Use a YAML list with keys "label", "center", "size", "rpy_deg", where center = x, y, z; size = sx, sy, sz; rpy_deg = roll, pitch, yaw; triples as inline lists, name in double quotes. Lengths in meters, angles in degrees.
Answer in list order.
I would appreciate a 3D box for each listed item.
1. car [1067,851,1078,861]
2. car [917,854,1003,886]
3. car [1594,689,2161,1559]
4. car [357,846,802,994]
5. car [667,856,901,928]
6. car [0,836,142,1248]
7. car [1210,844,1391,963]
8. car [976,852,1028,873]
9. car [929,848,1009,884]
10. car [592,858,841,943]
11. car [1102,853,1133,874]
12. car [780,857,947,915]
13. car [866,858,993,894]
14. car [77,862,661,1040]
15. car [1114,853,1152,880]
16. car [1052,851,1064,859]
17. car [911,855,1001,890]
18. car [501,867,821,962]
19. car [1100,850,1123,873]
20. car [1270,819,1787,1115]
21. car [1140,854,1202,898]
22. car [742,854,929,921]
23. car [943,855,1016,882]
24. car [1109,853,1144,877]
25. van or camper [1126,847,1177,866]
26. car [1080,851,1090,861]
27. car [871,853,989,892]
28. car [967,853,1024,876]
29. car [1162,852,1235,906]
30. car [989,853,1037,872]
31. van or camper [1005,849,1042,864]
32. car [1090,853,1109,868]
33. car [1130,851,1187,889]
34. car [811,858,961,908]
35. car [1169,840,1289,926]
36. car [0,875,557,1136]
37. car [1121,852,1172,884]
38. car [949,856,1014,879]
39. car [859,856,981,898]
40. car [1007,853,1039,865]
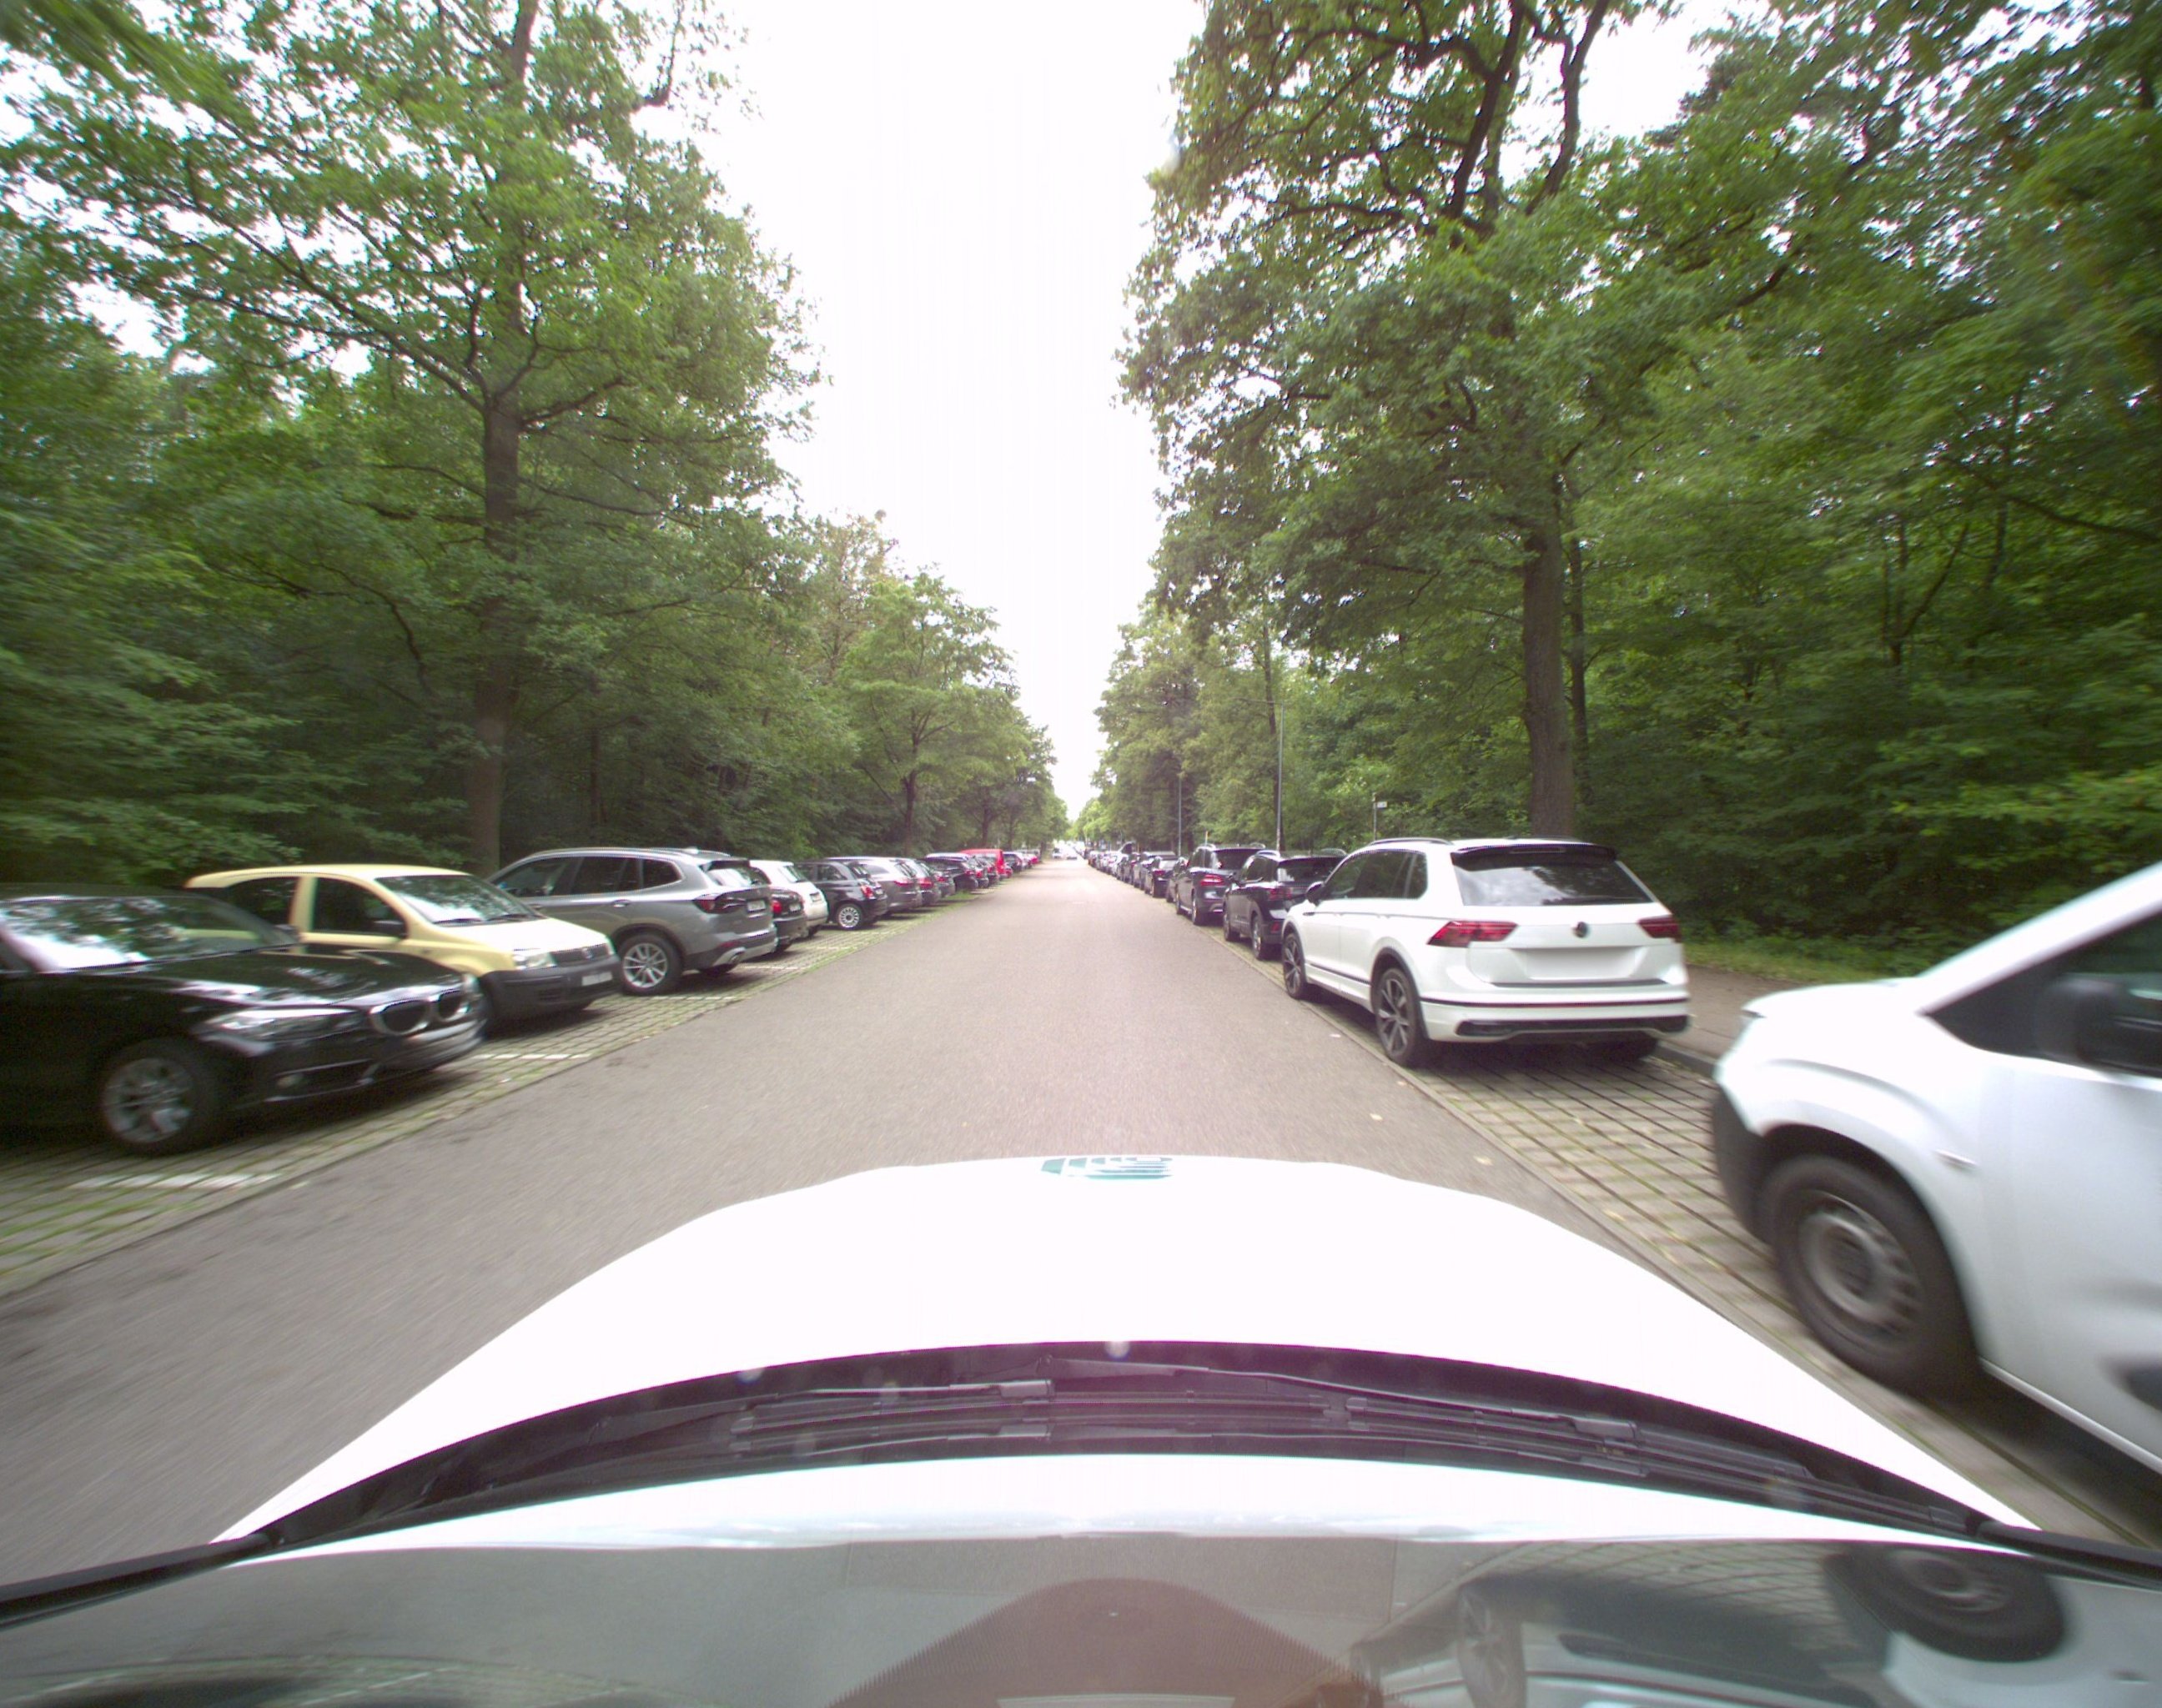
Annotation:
- label: "car"
  center: [-1.387, 0.291, 133.414]
  size: [1.686, 1.415, 3.152]
  rpy_deg: [1, 3, -2]
- label: "car"
  center: [-5.912, 0.764, 40.151]
  size: [3.976, 1.530, 1.999]
  rpy_deg: [0, 0, -2]
- label: "car"
  center: [3.082, 0.553, 1.236]
  size: [1.739, 1.780, 4.551]
  rpy_deg: [0, 0, 0]
- label: "car"
  center: [-5.937, 0.732, 10.082]
  size: [4.210, 1.633, 2.029]
  rpy_deg: [0, 0, 1]
- label: "car"
  center: [-6.362, 0.788, 17.786]
  size: [4.385, 1.488, 1.838]
  rpy_deg: [0, 0, 1]
- label: "car"
  center: [-6.421, 0.738, 2.637]
  size: [4.500, 1.584, 1.927]
  rpy_deg: [0, 0, 0]
- label: "car"
  center: [3.340, 0.668, 13.305]
  size: [1.745, 1.607, 4.445]
  rpy_deg: [0, 0, 0]
- label: "car"
  center: [-6.266, 0.663, 64.804]
  size: [3.974, 1.640, 1.734]
  rpy_deg: [0, 0, 0]
- label: "car"
  center: [-5.830, 0.627, 42.699]
  size: [3.979, 1.816, 2.112]
  rpy_deg: [0, 0, -4]
- label: "car"
  center: [-6.655, 0.828, 15.179]
  size: [3.855, 1.451, 1.659]
  rpy_deg: [0, 1, -2]
- label: "car"
  center: [2.630, 0.652, 59.032]
  size: [1.719, 1.494, 3.766]
  rpy_deg: [0, 0, -6]
- label: "car"
  center: [-5.924, 0.851, 22.632]
  size: [4.098, 1.480, 1.995]
  rpy_deg: [0, 0, -2]
- label: "car"
  center: [-5.972, 0.847, 32.542]
  size: [4.719, 1.343, 1.986]
  rpy_deg: [0, 0, -2]
- label: "car"
  center: [-6.479, 0.821, 7.748]
  size: [4.007, 1.465, 1.800]
  rpy_deg: [0, 0, 2]
- label: "car"
  center: [2.918, 0.698, 46.198]
  size: [1.663, 1.444, 3.809]
  rpy_deg: [0, 0, -4]
- label: "car"
  center: [-3.858, 0.109, 136.563]
  size: [1.733, 1.161, 3.412]
  rpy_deg: [1, 3, 1]
- label: "car"
  center: [-5.724, 0.820, 37.709]
  size: [3.980, 1.530, 1.996]
  rpy_deg: [0, 0, -5]
- label: "car"
  center: [-6.289, 0.883, 12.578]
  size: [3.969, 1.310, 1.809]
  rpy_deg: [0, 0, -2]
- label: "car"
  center: [2.393, 0.587, 64.790]
  size: [1.705, 1.728, 3.999]
  rpy_deg: [0, 0, 0]
- label: "car"
  center: [3.090, 0.629, 6.968]
  size: [1.780, 1.662, 4.715]
  rpy_deg: [0, 0, -1]
- label: "car"
  center: [3.202, 0.739, 29.651]
  size: [1.632, 1.477, 4.147]
  rpy_deg: [0, 0, -2]
- label: "car"
  center: [-5.987, 0.790, 20.258]
  size: [4.080, 1.523, 1.927]
  rpy_deg: [0, 0, -3]
- label: "car"
  center: [-5.862, 0.820, 47.546]
  size: [3.975, 1.474, 2.114]
  rpy_deg: [0, 0, -1]
- label: "car"
  center: [2.955, 0.678, 53.156]
  size: [1.932, 1.475, 3.989]
  rpy_deg: [0, 0, -2]
- label: "van or camper"
  center: [10.811, 0.360, 125.135]
  size: [7.337, 2.888, 2.636]
  rpy_deg: [0, 3, -16]
- label: "car"
  center: [0.671, 0.333, 139.110]
  size: [1.624, 1.415, 3.409]
  rpy_deg: [1, 3, -2]
- label: "car"
  center: [-6.466, 0.772, 35.237]
  size: [4.719, 1.595, 1.958]
  rpy_deg: [0, 0, -2]
- label: "car"
  center: [-6.014, 0.743, 57.478]
  size: [3.820, 1.536, 1.870]
  rpy_deg: [0, 0, 0]
- label: "car"
  center: [3.462, 0.687, 24.613]
  size: [1.594, 1.504, 4.089]
  rpy_deg: [0, 0, 0]
- label: "car"
  center: [-5.984, 0.707, 72.052]
  size: [3.974, 1.640, 2.009]
  rpy_deg: [0, 0, 0]
- label: "van or camper"
  center: [-7.469, 0.342, 105.596]
  size: [4.482, 1.868, 1.910]
  rpy_deg: [0, 3, -16]
- label: "car"
  center: [1.897, 0.665, 84.278]
  size: [1.915, 1.520, 3.887]
  rpy_deg: [0, 0, 0]
- label: "car"
  center: [3.313, 0.649, 35.505]
  size: [1.972, 1.537, 4.619]
  rpy_deg: [0, 0, -1]
- label: "car"
  center: [-5.913, 0.875, 25.087]
  size: [4.095, 1.431, 1.964]
  rpy_deg: [0, 0, 1]
- label: "car"
  center: [3.282, 0.580, 19.032]
  size: [1.884, 1.747, 4.947]
  rpy_deg: [0, 0, 0]
- label: "car"
  center: [-6.010, 0.849, 5.319]
  size: [3.975, 1.364, 1.786]
  rpy_deg: [0, 0, -1]
- label: "car"
  center: [3.236, 0.667, 41.140]
  size: [1.974, 1.537, 4.161]
  rpy_deg: [0, 0, -4]
- label: "car"
  center: [-6.381, 0.858, 52.631]
  size: [3.974, 1.474, 1.847]
  rpy_deg: [0, 0, 0]
- label: "car"
  center: [-5.886, 0.817, 30.193]
  size: [4.289, 1.449, 1.753]
  rpy_deg: [0, 0, -6]
- label: "car"
  center: [-6.773, 0.617, 94.955]
  size: [3.581, 1.361, 1.820]
  rpy_deg: [0, 0, -13]
